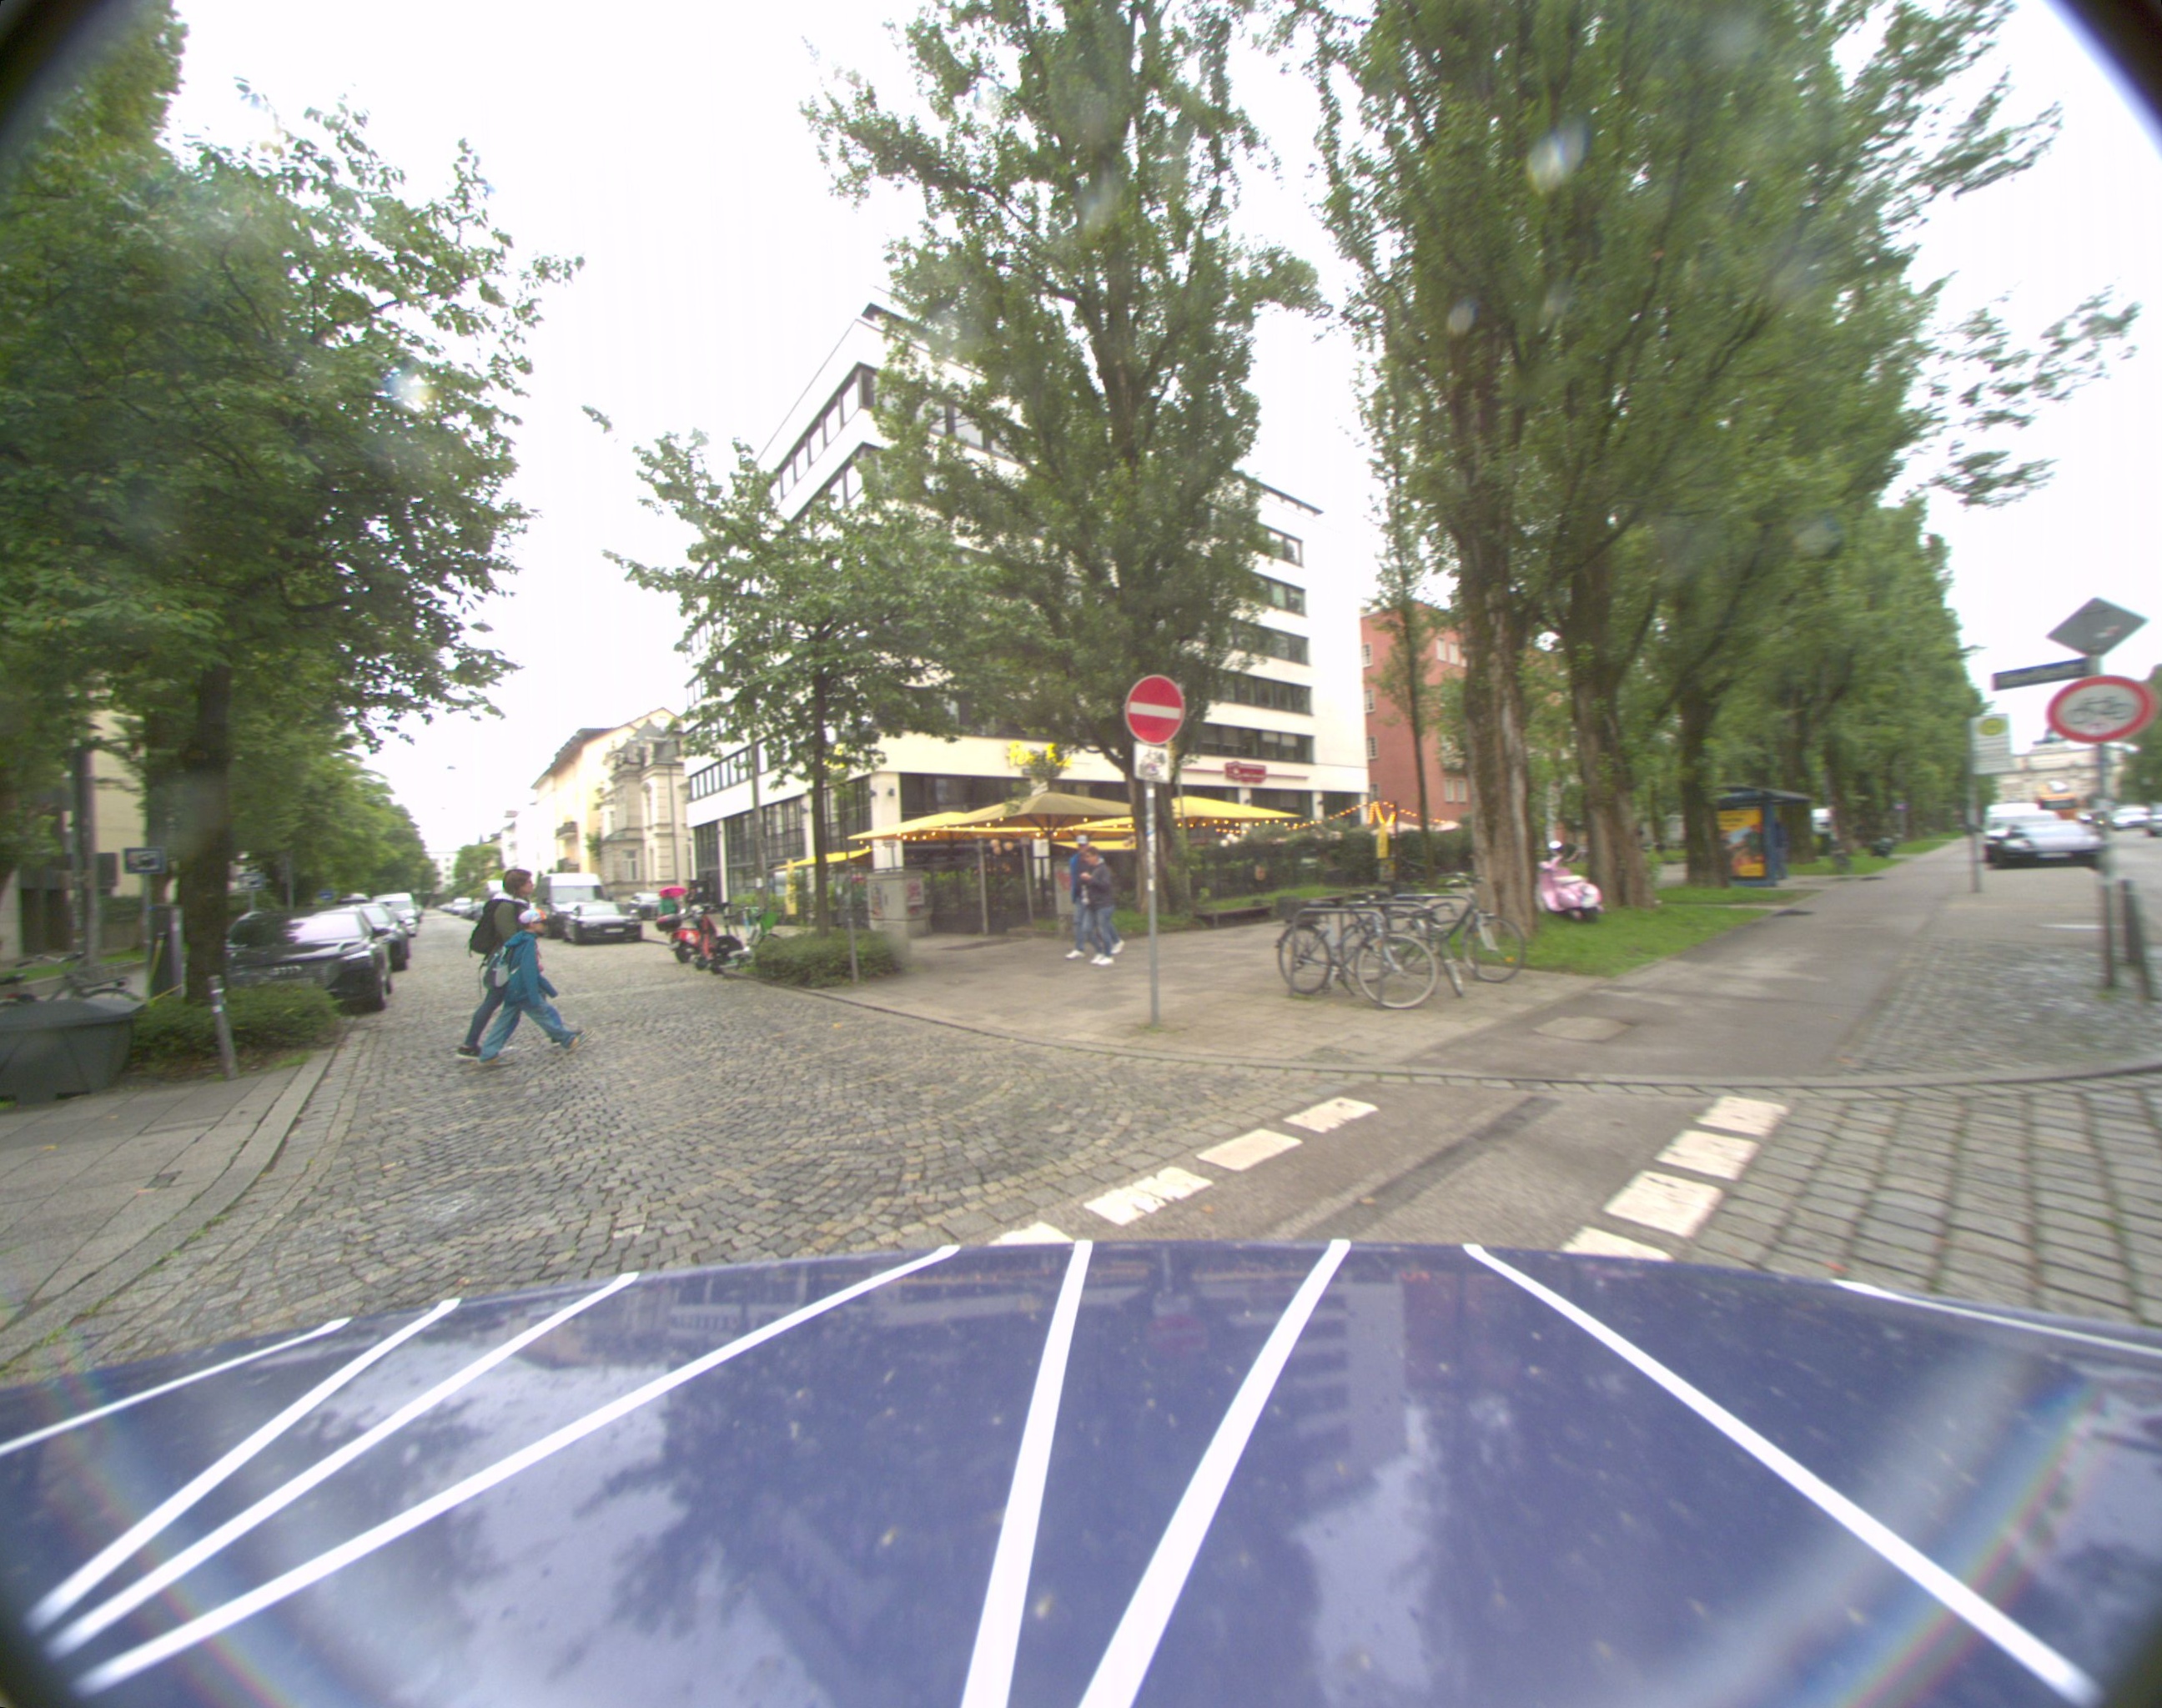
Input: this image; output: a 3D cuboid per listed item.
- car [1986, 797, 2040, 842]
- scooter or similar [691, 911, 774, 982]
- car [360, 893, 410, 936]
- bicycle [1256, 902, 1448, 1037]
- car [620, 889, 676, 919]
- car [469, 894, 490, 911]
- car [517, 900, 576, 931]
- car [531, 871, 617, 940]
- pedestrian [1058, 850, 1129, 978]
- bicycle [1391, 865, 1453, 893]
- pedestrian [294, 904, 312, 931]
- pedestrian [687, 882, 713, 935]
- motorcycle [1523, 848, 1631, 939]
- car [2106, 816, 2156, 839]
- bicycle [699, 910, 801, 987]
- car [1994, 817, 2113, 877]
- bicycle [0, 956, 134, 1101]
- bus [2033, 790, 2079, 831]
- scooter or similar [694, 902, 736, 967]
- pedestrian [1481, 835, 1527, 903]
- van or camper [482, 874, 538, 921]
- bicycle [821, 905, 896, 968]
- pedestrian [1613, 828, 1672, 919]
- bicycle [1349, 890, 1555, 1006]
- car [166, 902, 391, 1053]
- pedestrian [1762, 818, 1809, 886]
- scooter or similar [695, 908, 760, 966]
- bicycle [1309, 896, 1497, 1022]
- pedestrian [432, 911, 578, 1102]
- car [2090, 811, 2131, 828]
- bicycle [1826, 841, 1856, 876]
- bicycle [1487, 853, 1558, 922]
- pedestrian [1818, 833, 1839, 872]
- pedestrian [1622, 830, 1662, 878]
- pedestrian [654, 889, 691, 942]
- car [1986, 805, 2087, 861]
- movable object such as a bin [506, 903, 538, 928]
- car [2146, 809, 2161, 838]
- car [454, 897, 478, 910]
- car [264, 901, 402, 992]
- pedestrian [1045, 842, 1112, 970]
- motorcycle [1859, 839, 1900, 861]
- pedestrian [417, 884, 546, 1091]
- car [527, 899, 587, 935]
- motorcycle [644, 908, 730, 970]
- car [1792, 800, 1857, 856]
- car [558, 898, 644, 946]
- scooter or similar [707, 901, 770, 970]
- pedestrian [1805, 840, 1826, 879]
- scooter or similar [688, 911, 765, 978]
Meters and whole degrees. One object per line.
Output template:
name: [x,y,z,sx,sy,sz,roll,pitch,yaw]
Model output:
car: [59.331,-2.211,48.412,6.011,2.616,2.007,-3,0,-40]
scooter or similar: [-6.419,1.675,14.059,0.368,1.137,1.433,-3,0,26]
car: [-43.880,3.745,47.960,2.093,2.418,5.596,-4,1,-42]
bicycle: [2.505,1.023,7.223,0.492,1.087,1.699,-3,-1,-35]
car: [-25.172,2.875,44.110,1.917,1.523,4.159,-3,-1,-42]
car: [-94.148,7.639,118.951,2.093,2.418,5.597,-3,-1,-42]
car: [-27.361,3.116,38.836,2.004,1.380,3.990,-2,-1,-41]
car: [-20.666,2.026,30.850,2.070,2.475,5.834,-1,-2,-42]
pedestrian: [0.182,0.818,10.642,0.702,1.717,0.646,-3,0,27]
bicycle: [11.660,0.873,26.007,0.621,0.907,1.797,-3,-1,-42]
pedestrian: [-45.586,3.723,44.544,0.529,1.521,0.546,-3,0,27]
pedestrian: [-12.885,1.845,25.691,0.577,1.738,0.649,-2,0,-45]
motorcycle: [7.892,0.581,12.193,0.629,1.190,1.990,-3,4,7]
car: [80.662,-2.037,58.397,4.007,1.571,2.007,-3,0,-39]
bicycle: [-5.787,1.629,13.402,0.553,1.136,1.765,-3,0,19]
car: [28.892,-0.228,22.651,4.007,1.571,2.007,-3,0,-39]
bicycle: [-10.178,1.658,7.447,0.476,1.130,1.872,-3,-1,-31]
bus: [105.927,-4.610,82.622,9.814,4.087,2.643,-2,-1,-40]
scooter or similar: [-7.823,1.694,16.265,0.327,1.265,1.357,-3,-2,-6]
pedestrian: [10.759,0.374,19.332,0.648,1.682,0.734,-3,0,-36]
van or camper: [-40.211,3.039,53.421,2.470,3.029,7.299,-3,-1,-42]
bicycle: [-4.026,1.449,13.682,0.555,1.016,1.758,-3,-1,-42]
pedestrian: [11.362,0.385,15.378,0.707,1.762,0.750,-3,1,-35]
bicycle: [3.937,0.948,8.252,0.492,1.087,1.979,-3,-1,-35]
car: [-11.946,1.670,11.622,1.930,1.690,4.191,-4,0,-42]
pedestrian: [19.626,-0.049,21.170,0.888,1.832,0.769,-3,0,43]
scooter or similar: [-7.470,1.754,16.049,1.248,1.173,0.390,-3,0,18]
bicycle: [3.168,0.986,7.638,0.492,1.087,1.699,-3,-1,-35]
pedestrian: [-4.854,1.232,6.472,0.771,1.411,0.817,-3,0,-24]
car: [94.295,-3.177,69.648,4.008,1.388,1.644,-2,-1,-44]
bicycle: [23.776,0.141,23.775,1.766,1.016,0.552,-3,0,-43]
bicycle: [8.319,0.602,14.285,1.619,1.181,0.582,-3,0,-40]
pedestrian: [33.177,-0.063,33.722,0.487,1.682,0.516,-3,0,-36]
pedestrian: [20.125,0.011,27.245,0.769,1.682,0.888,-3,0,-36]
pedestrian: [-13.909,2.074,25.860,0.931,1.696,0.798,-3,0,-38]
car: [34.274,-0.700,27.368,4.008,1.746,2.007,0,-3,-41]
movable object such as a bin: [-31.499,3.462,42.780,1.258,1.290,1.171,-2,-1,-44]
car: [60.813,-1.754,41.983,4.007,1.571,2.007,-3,0,-39]
car: [-78.684,6.352,97.211,2.003,1.401,3.864,-4,0,-43]
car: [-17.546,2.050,18.052,2.023,1.690,4.661,-4,0,-42]
pedestrian: [-0.032,0.782,11.663,0.702,1.896,0.646,-3,0,27]
motorcycle: [34.450,-0.168,32.799,0.466,0.933,1.665,-3,-1,18]
pedestrian: [-5.298,1.128,6.765,0.691,1.690,0.663,-3,0,-24]
car: [-24.481,2.894,35.427,2.004,1.422,3.990,-2,-1,-38]
motorcycle: [-8.573,1.816,16.636,0.770,1.188,1.992,-2,-2,2]
car: [43.803,-1.548,44.716,6.011,2.999,2.194,-2,-1,-41]
car: [-16.092,2.193,25.373,2.003,1.322,4.106,-3,-1,-37]
scooter or similar: [-7.012,1.651,15.618,0.327,1.265,1.253,-3,0,20]
pedestrian: [32.950,0.253,34.079,0.487,1.682,0.516,-3,0,-36]
scooter or similar: [-6.834,1.729,14.671,1.253,1.137,0.327,-3,0,-39]
